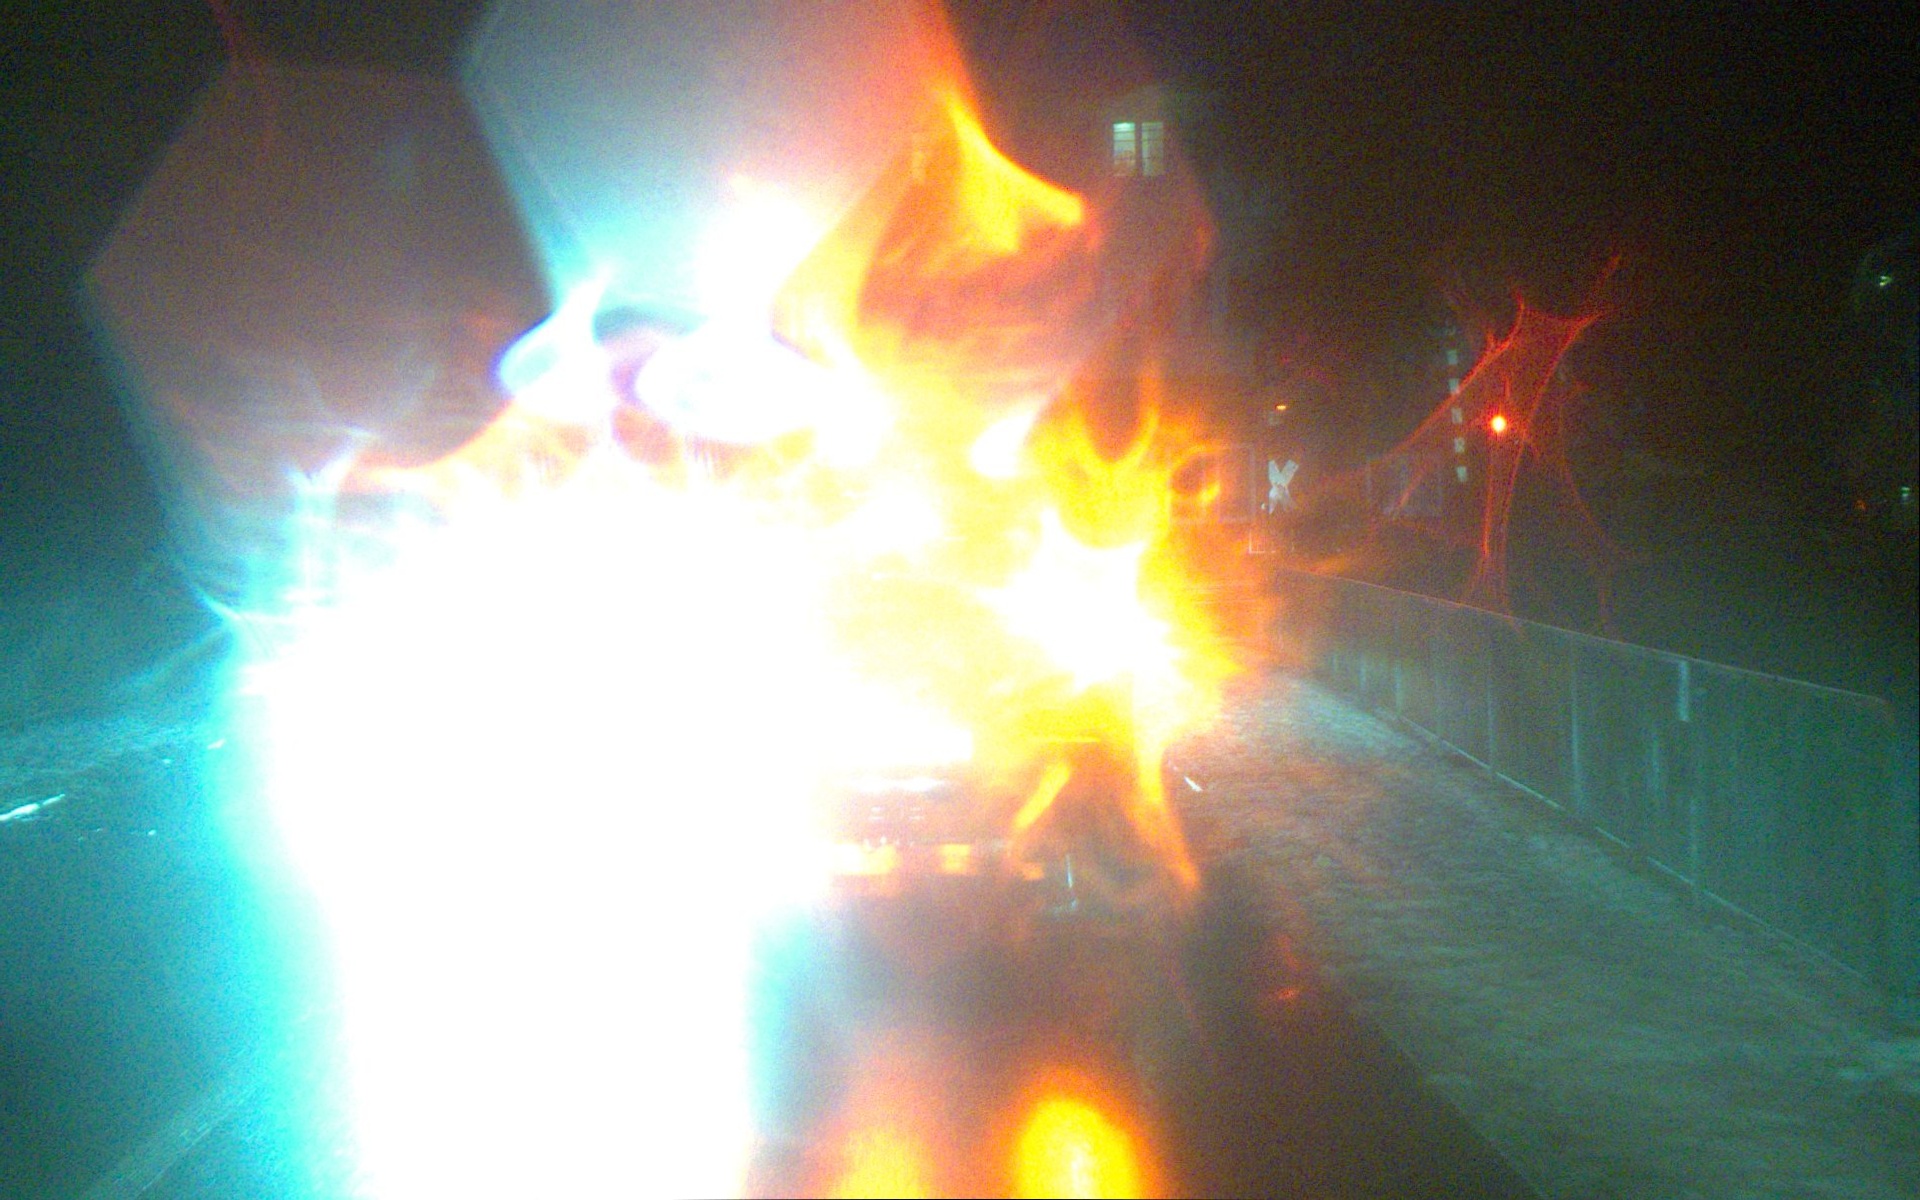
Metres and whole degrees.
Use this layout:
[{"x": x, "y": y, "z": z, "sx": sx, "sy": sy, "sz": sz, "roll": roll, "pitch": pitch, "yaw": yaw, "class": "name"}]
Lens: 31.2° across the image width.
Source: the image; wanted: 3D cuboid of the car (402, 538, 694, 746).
[{"x": -3.505, "y": 0.330, "z": 30.003, "sx": 1.874, "sy": 1.540, "sz": 4.355, "roll": -4, "pitch": 0, "yaw": 1, "class": "car"}]

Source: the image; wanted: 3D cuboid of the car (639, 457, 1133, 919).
[{"x": -0.234, "y": 0.266, "z": 14.555, "sx": 1.791, "sy": 1.675, "sz": 3.904, "roll": -1, "pitch": 2, "yaw": 1, "class": "car"}]
